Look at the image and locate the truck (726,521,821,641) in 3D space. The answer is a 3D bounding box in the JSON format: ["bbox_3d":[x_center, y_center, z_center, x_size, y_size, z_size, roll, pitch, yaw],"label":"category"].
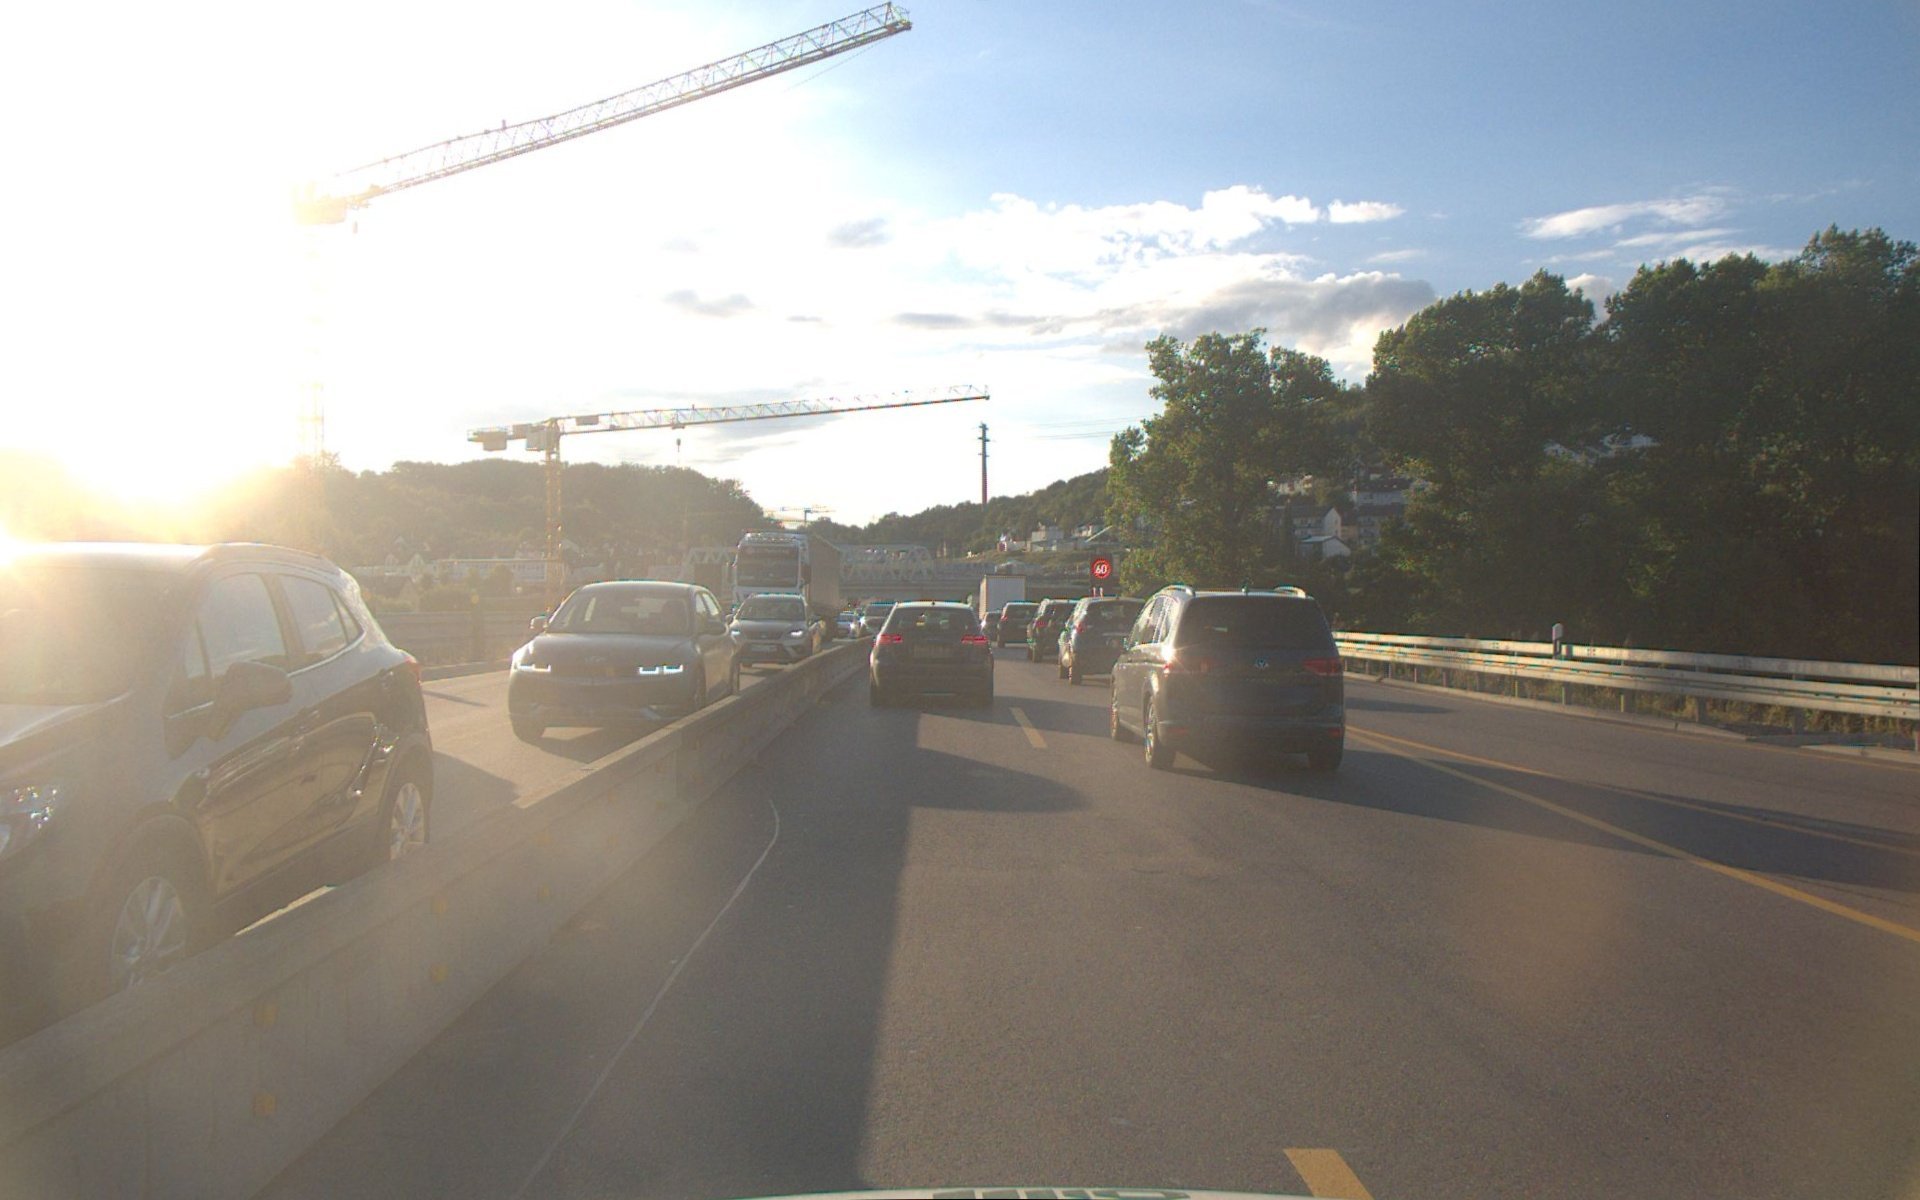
[{"bbox_3d":[-6.700,-0.625,60.095,2.756,4.119,5.672,0,-1,0],"label":"truck"}]

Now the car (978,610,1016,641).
[{"bbox_3d":[1.960,1.348,87.746,1.734,1.580,3.998,2,-1,-2],"label":"car"}]

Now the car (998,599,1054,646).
[{"bbox_3d":[2.436,0.858,61.746,1.778,1.661,4.409,1,-1,-1],"label":"car"}]

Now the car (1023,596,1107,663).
[{"bbox_3d":[2.670,0.783,43.002,1.837,1.627,4.964,0,-1,0],"label":"car"}]

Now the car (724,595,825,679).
[{"bbox_3d":[-3.702,0.743,33.576,1.731,1.562,3.998,1,-1,-2],"label":"car"}]

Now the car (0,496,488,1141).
[{"bbox_3d":[-3.349,0.558,6.510,1.790,1.668,4.528,1,0,-2],"label":"car"}]

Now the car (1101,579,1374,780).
[{"bbox_3d":[2.566,0.663,16.410,1.776,1.643,4.525,3,0,-2],"label":"car"}]

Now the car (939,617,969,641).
[{"bbox_3d":[-0.414,1.835,104.017,1.825,1.445,3.999,2,-1,-1],"label":"car"}]

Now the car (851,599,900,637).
[{"bbox_3d":[-3.694,0.802,73.130,1.953,1.648,4.604,0,-1,0],"label":"car"}]

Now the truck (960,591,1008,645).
[{"bbox_3d":[2.055,1.575,149.255,3.811,4.577,15.263,1,0,-1],"label":"truck"}]

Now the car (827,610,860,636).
[{"bbox_3d":[-6.694,1.313,95.399,1.666,1.471,3.999,0,-1,-1],"label":"car"}]

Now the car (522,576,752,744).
[{"bbox_3d":[-3.425,0.587,18.380,1.707,1.611,4.704,1,0,-1],"label":"car"}]

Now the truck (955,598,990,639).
[{"bbox_3d":[1.413,2.096,191.966,3.811,4.577,13.847,1,0,0],"label":"truck"}]

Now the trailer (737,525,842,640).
[{"bbox_3d":[-6.669,-0.559,66.873,2.756,4.122,14.020,0,-1,0],"label":"trailer"}]

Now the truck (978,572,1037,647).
[{"bbox_3d":[3.018,0.472,109.696,3.316,4.576,15.266,1,1,0],"label":"truck"}]

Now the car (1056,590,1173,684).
[{"bbox_3d":[2.821,0.666,30.947,1.738,1.614,4.134,1,-1,0],"label":"car"}]

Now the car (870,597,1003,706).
[{"bbox_3d":[-0.389,0.719,23.919,1.734,1.414,3.998,1,-1,-2],"label":"car"}]
